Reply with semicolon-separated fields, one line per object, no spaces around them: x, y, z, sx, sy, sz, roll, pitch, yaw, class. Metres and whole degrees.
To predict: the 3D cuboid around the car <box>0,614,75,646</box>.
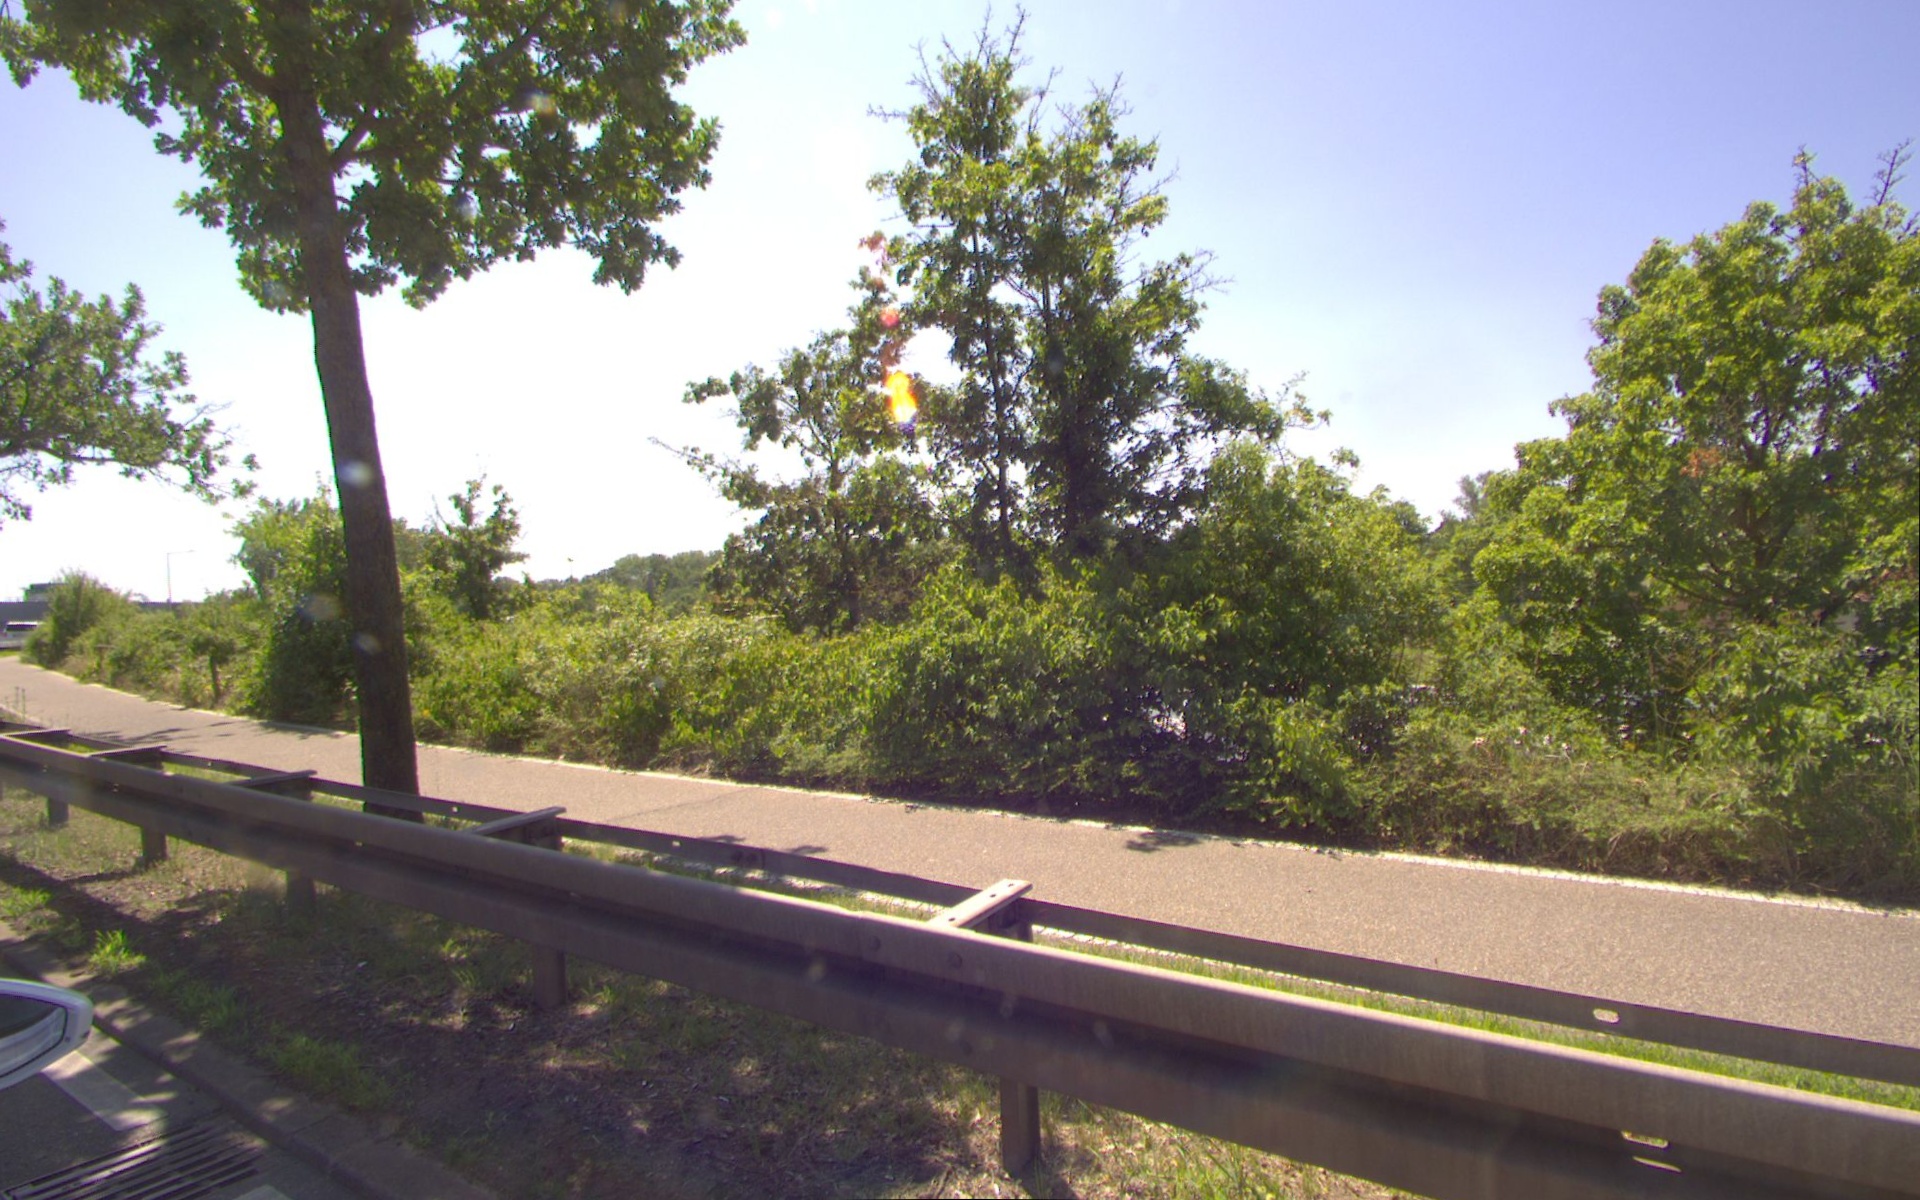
-51.421;1.687;55.803;1.969;1.734;4.602;1;-2;-26;car
